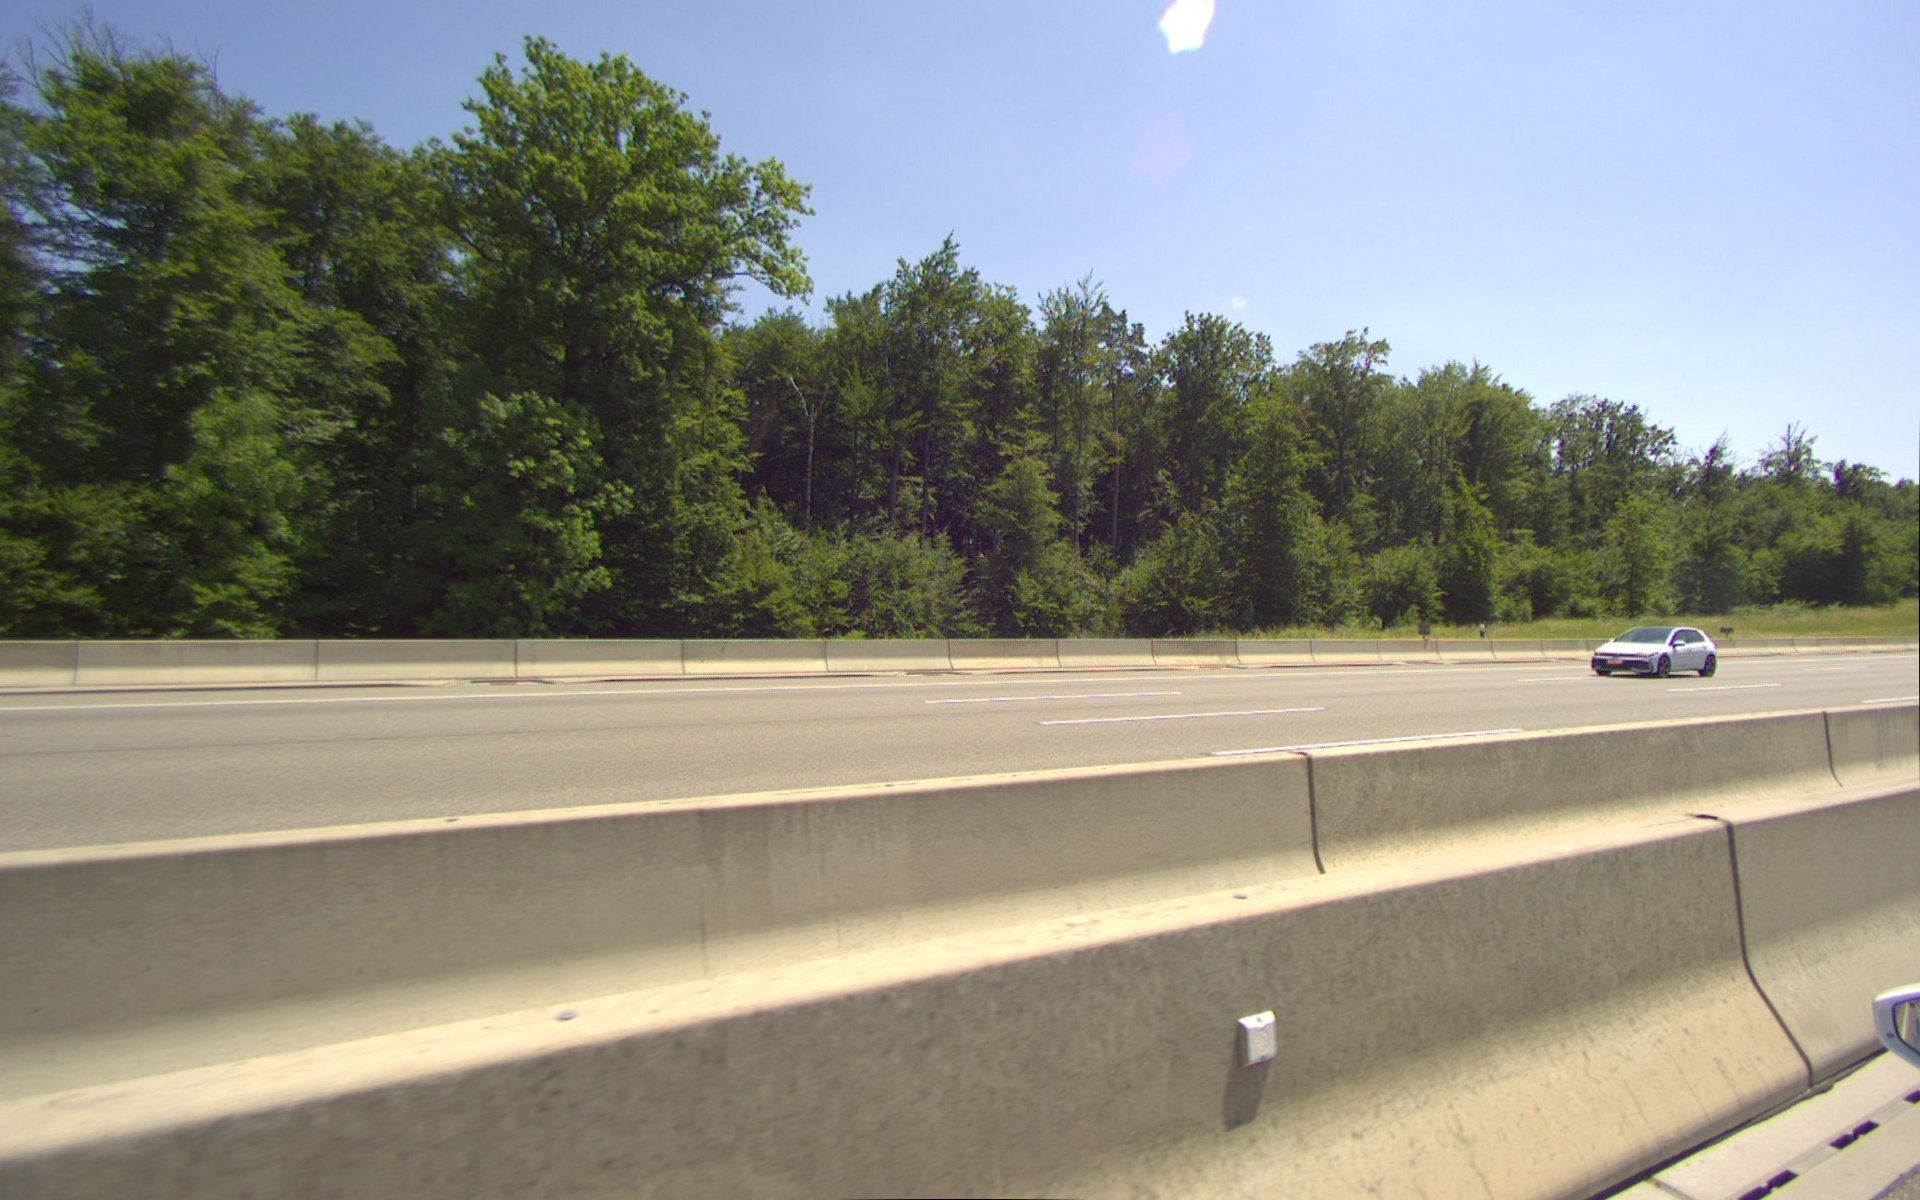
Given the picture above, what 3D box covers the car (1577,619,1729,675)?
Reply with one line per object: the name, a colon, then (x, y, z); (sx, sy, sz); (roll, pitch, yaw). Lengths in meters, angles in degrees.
car: (20.572, 1.370, 29.772); (4.757, 1.500, 1.863); (2, 0, -30)
